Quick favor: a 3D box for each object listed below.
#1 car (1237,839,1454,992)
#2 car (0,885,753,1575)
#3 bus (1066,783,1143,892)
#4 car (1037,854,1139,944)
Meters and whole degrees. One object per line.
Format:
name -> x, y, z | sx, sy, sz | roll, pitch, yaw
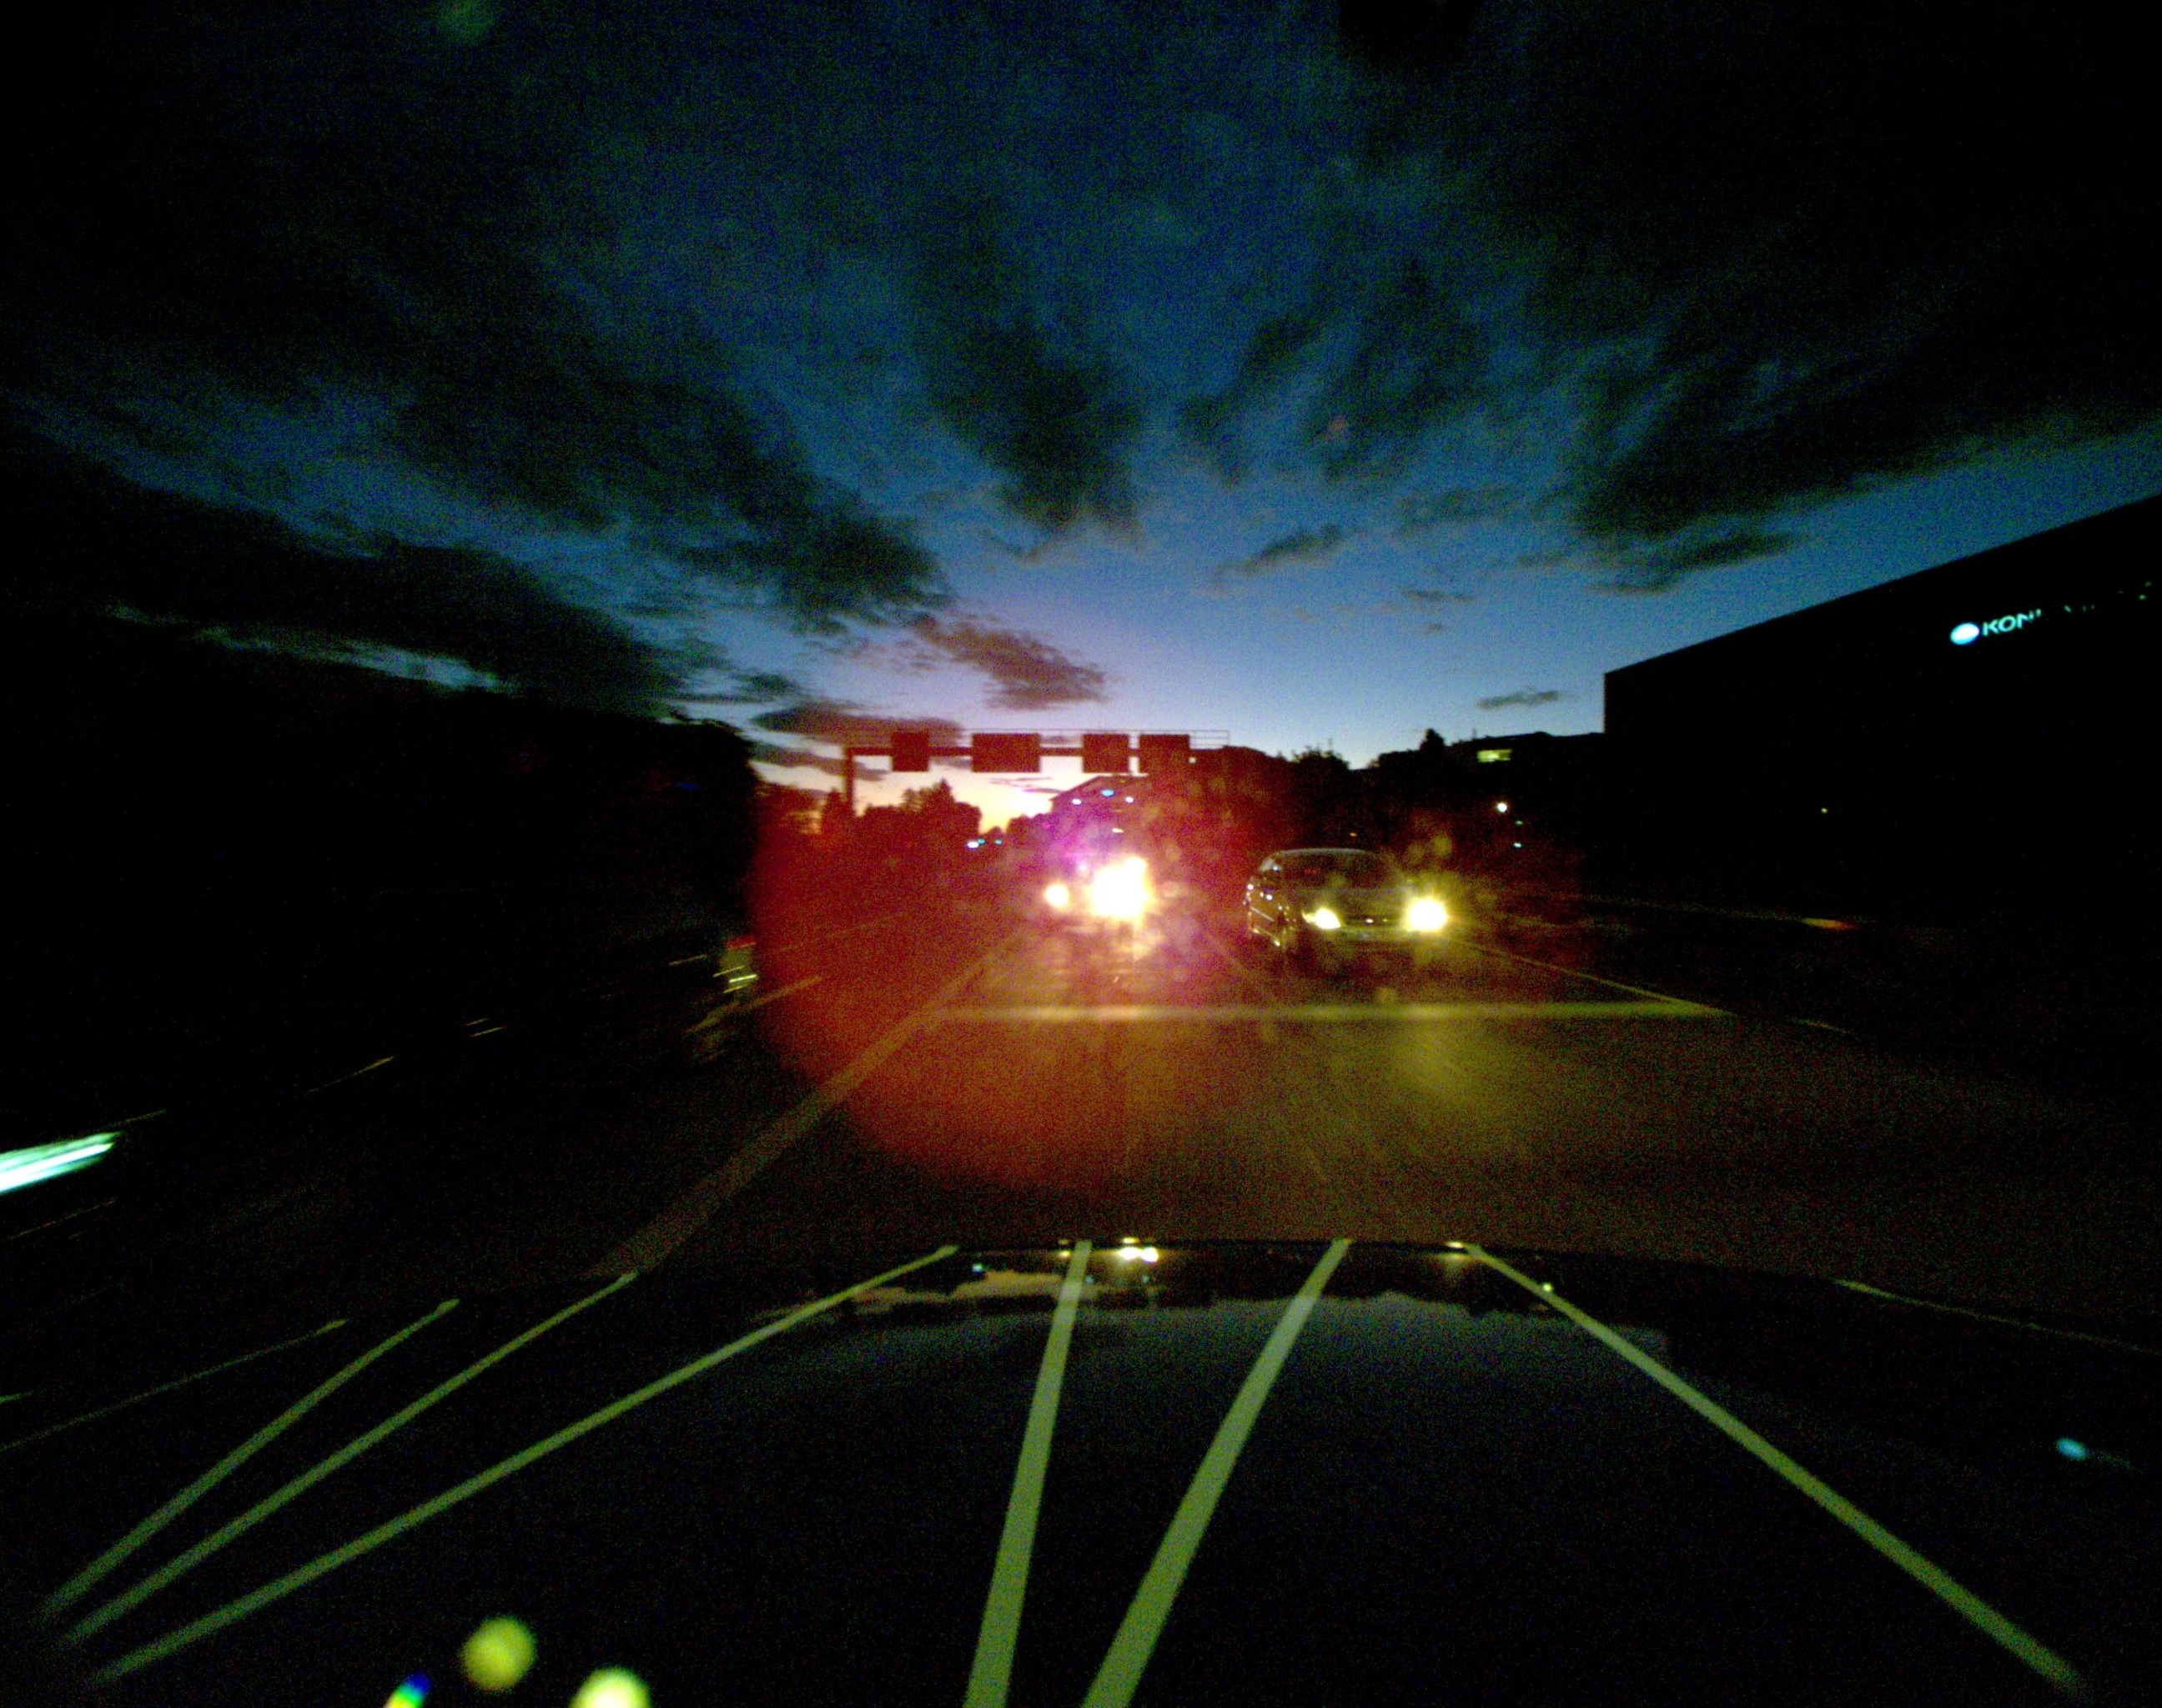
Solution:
car -> 3.355, 0.651, 10.563 | 1.669, 1.643, 4.411 | -2, 1, 3
car -> -3.530, 1.027, 3.751 | 1.795, 1.435, 4.533 | -2, 1, 0
bus -> 0.897, -0.678, 32.995 | 2.613, 3.769, 12.273 | -2, 1, 1
car -> 0.256, 0.786, 15.028 | 1.669, 1.472, 3.777 | -1, 1, 5
